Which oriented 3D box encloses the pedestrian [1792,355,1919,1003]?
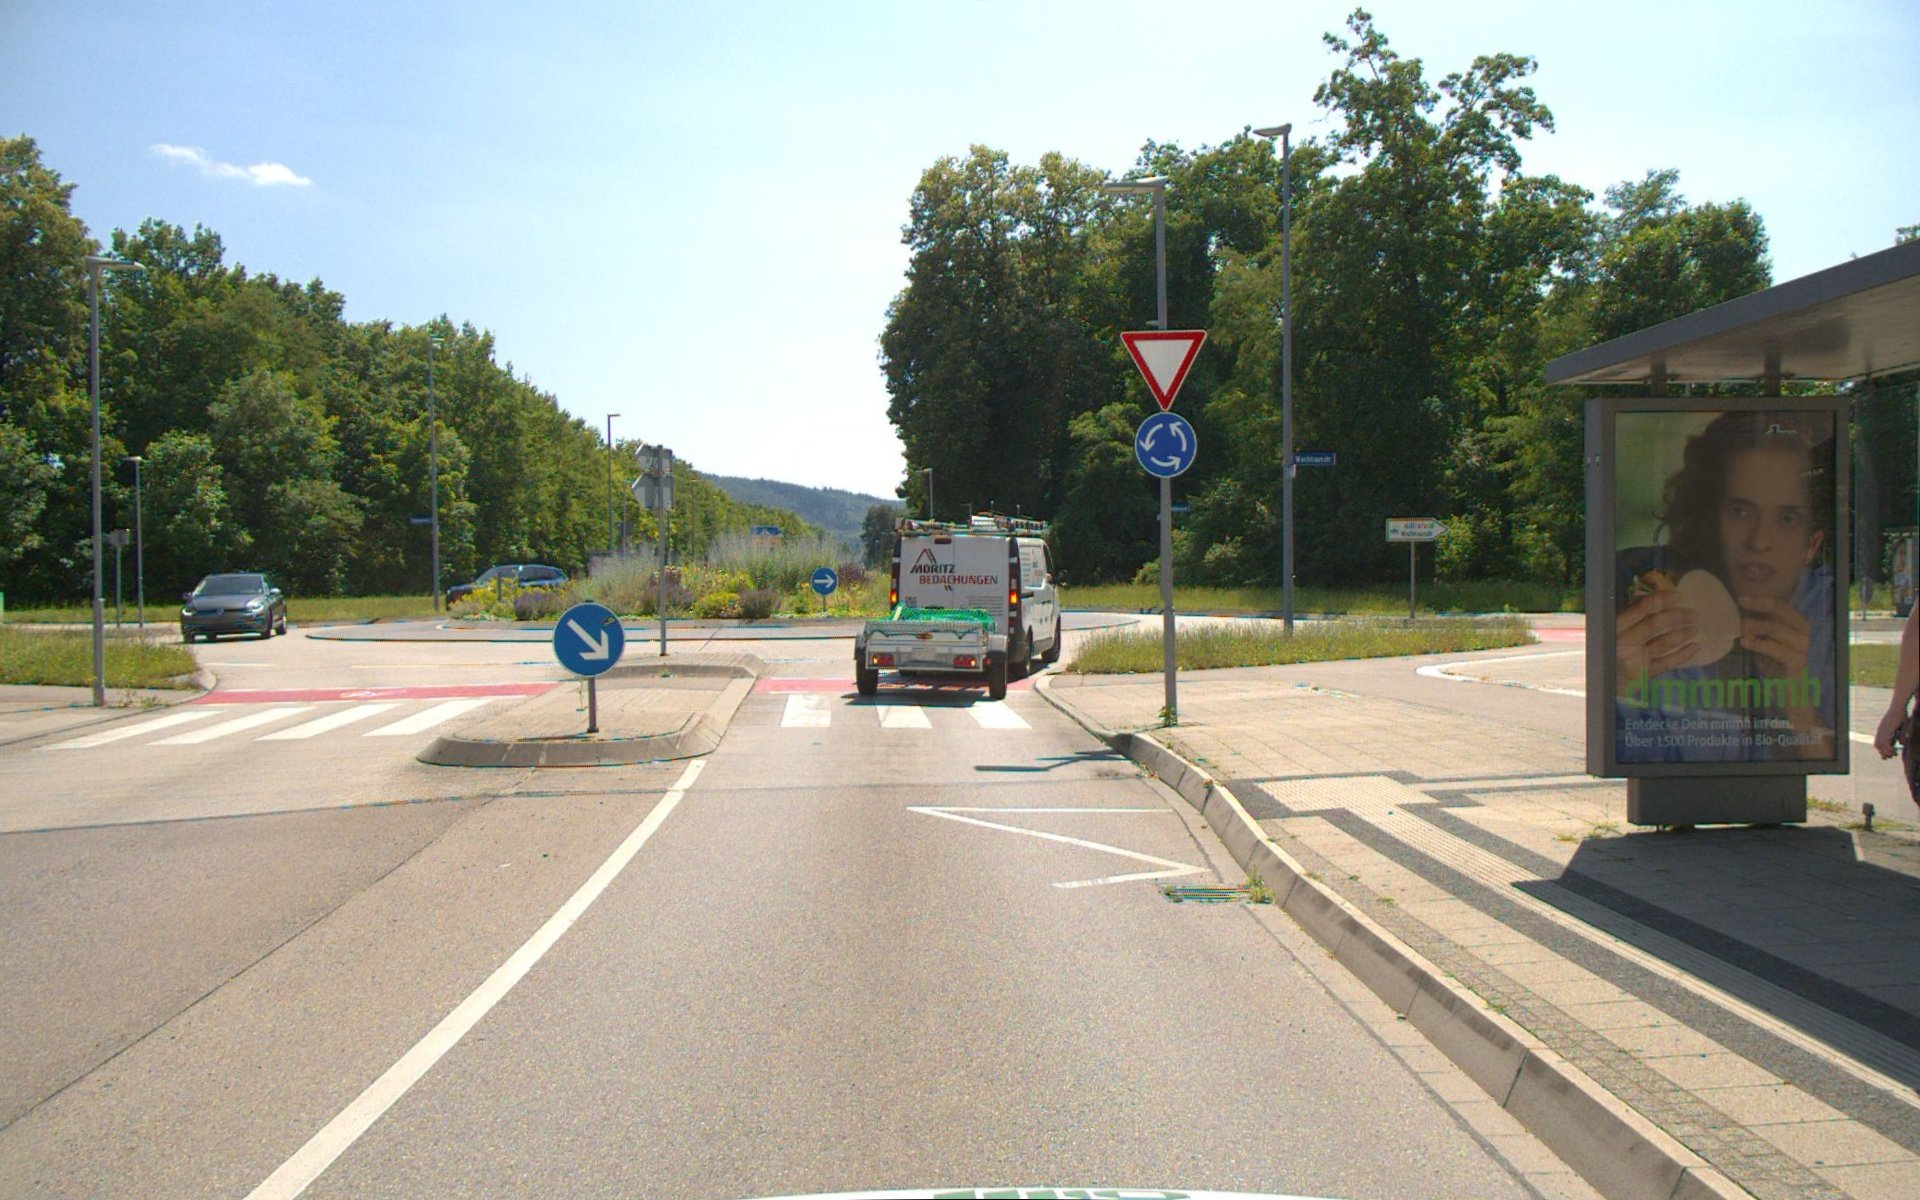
[{"bbox_3d":[3.072,0.219,4.908,0.694,1.854,0.826,-3,0,-3],"label":"pedestrian"}]

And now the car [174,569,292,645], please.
[{"bbox_3d":[-16.010,0.100,36.624,1.963,1.504,4.266,-3,2,-19],"label":"car"}]

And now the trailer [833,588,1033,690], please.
[{"bbox_3d":[-0.235,0.418,20.134,2.076,1.116,3.357,0,0,5],"label":"trailer"}]

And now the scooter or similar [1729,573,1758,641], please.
[{"bbox_3d":[14.415,0.115,30.448,0.437,1.222,1.398,0,0,24],"label":"scooter or similar"}]

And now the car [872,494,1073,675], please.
[{"bbox_3d":[0.322,-0.231,24.162,2.120,2.356,4.986,0,0,10],"label":"car"}]

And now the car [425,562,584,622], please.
[{"bbox_3d":[-13.800,-0.284,50.279,1.963,1.623,4.300,1,3,40],"label":"car"}]
